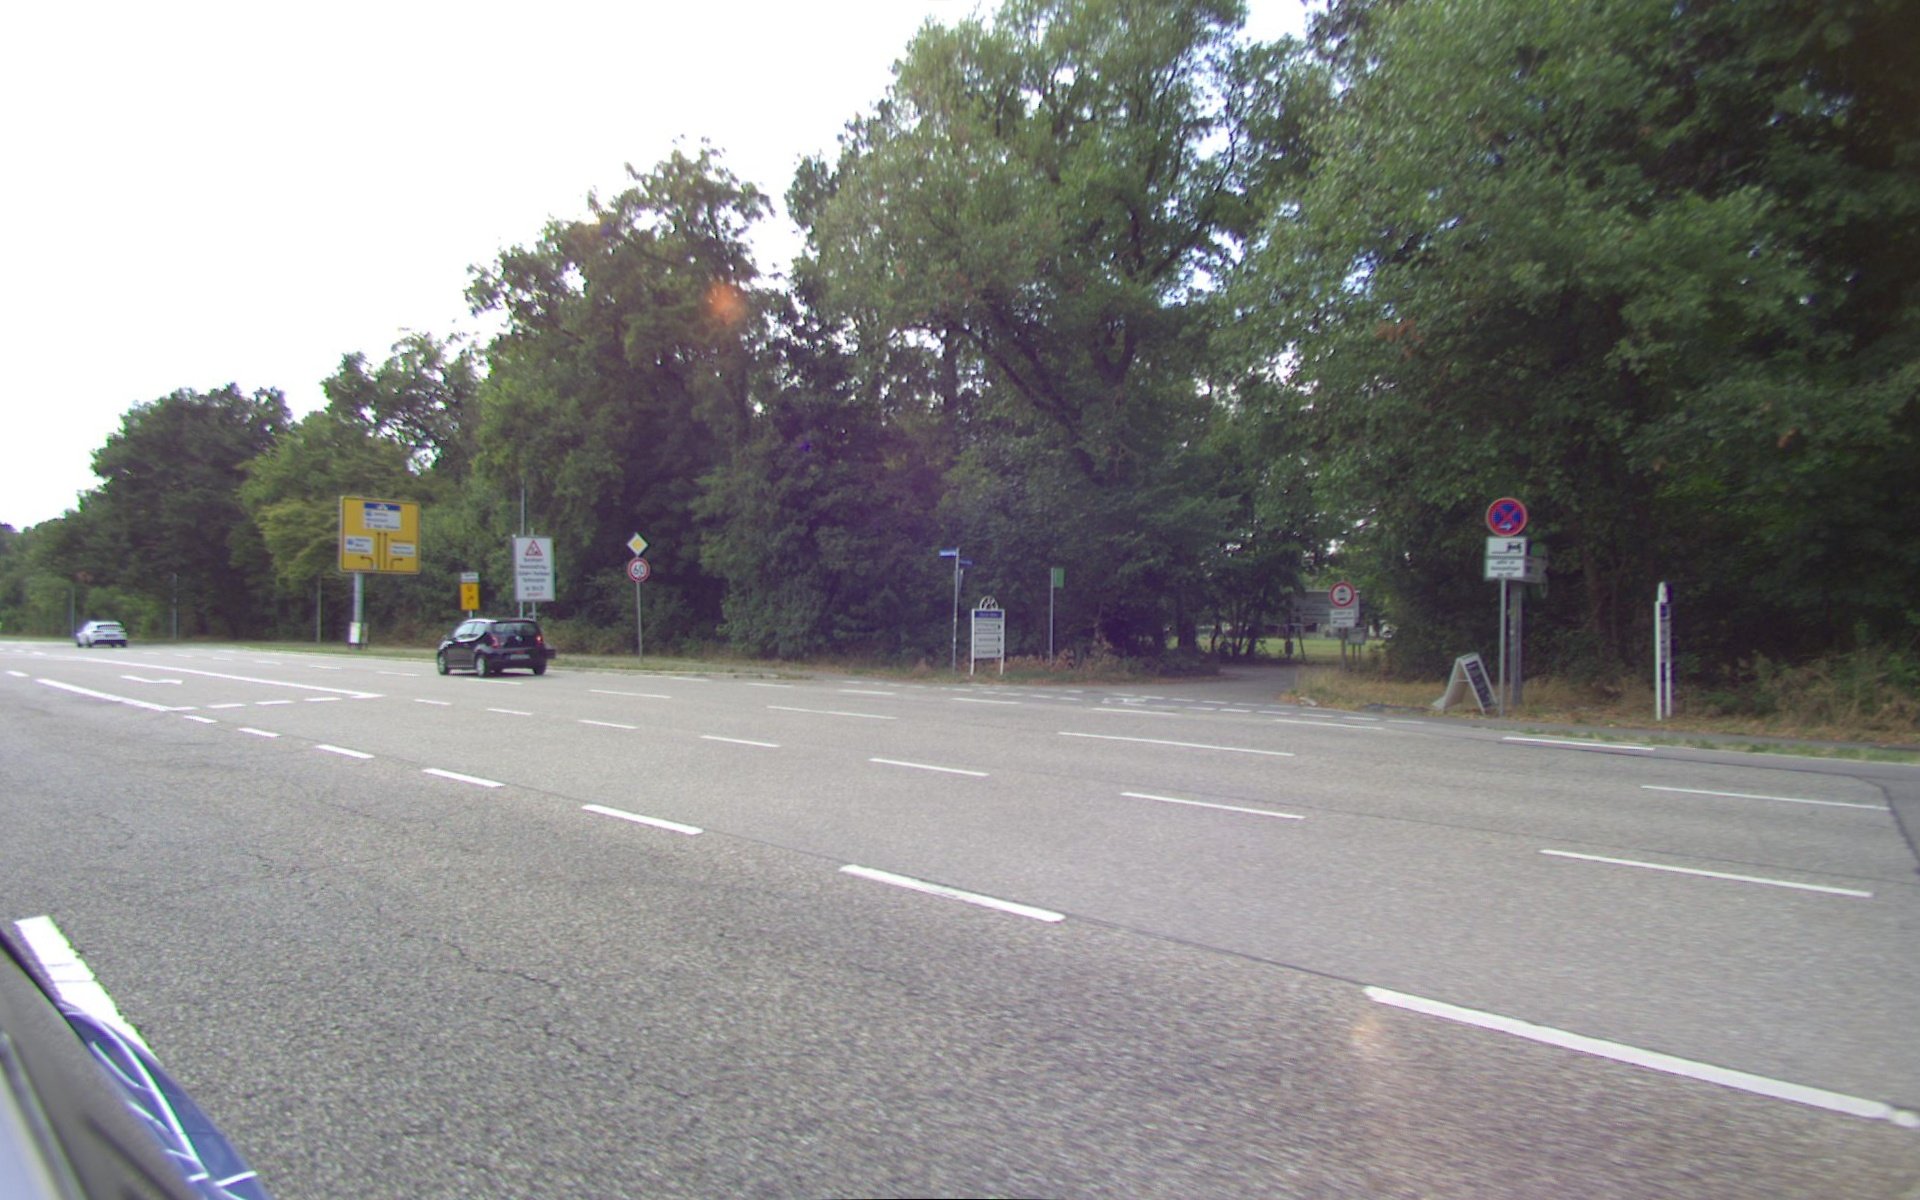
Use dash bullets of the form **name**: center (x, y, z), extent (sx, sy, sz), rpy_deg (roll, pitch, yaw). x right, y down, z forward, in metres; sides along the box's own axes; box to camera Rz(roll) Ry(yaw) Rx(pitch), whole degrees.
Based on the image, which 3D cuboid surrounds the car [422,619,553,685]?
- **car**: center (-12.311, 1.290, 26.266), extent (4.000, 1.486, 1.722), rpy_deg (-1, 1, 43)

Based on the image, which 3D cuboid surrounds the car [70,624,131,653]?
- **car**: center (-50.072, 2.197, 58.922), extent (4.587, 1.511, 1.915), rpy_deg (-1, 1, 40)
